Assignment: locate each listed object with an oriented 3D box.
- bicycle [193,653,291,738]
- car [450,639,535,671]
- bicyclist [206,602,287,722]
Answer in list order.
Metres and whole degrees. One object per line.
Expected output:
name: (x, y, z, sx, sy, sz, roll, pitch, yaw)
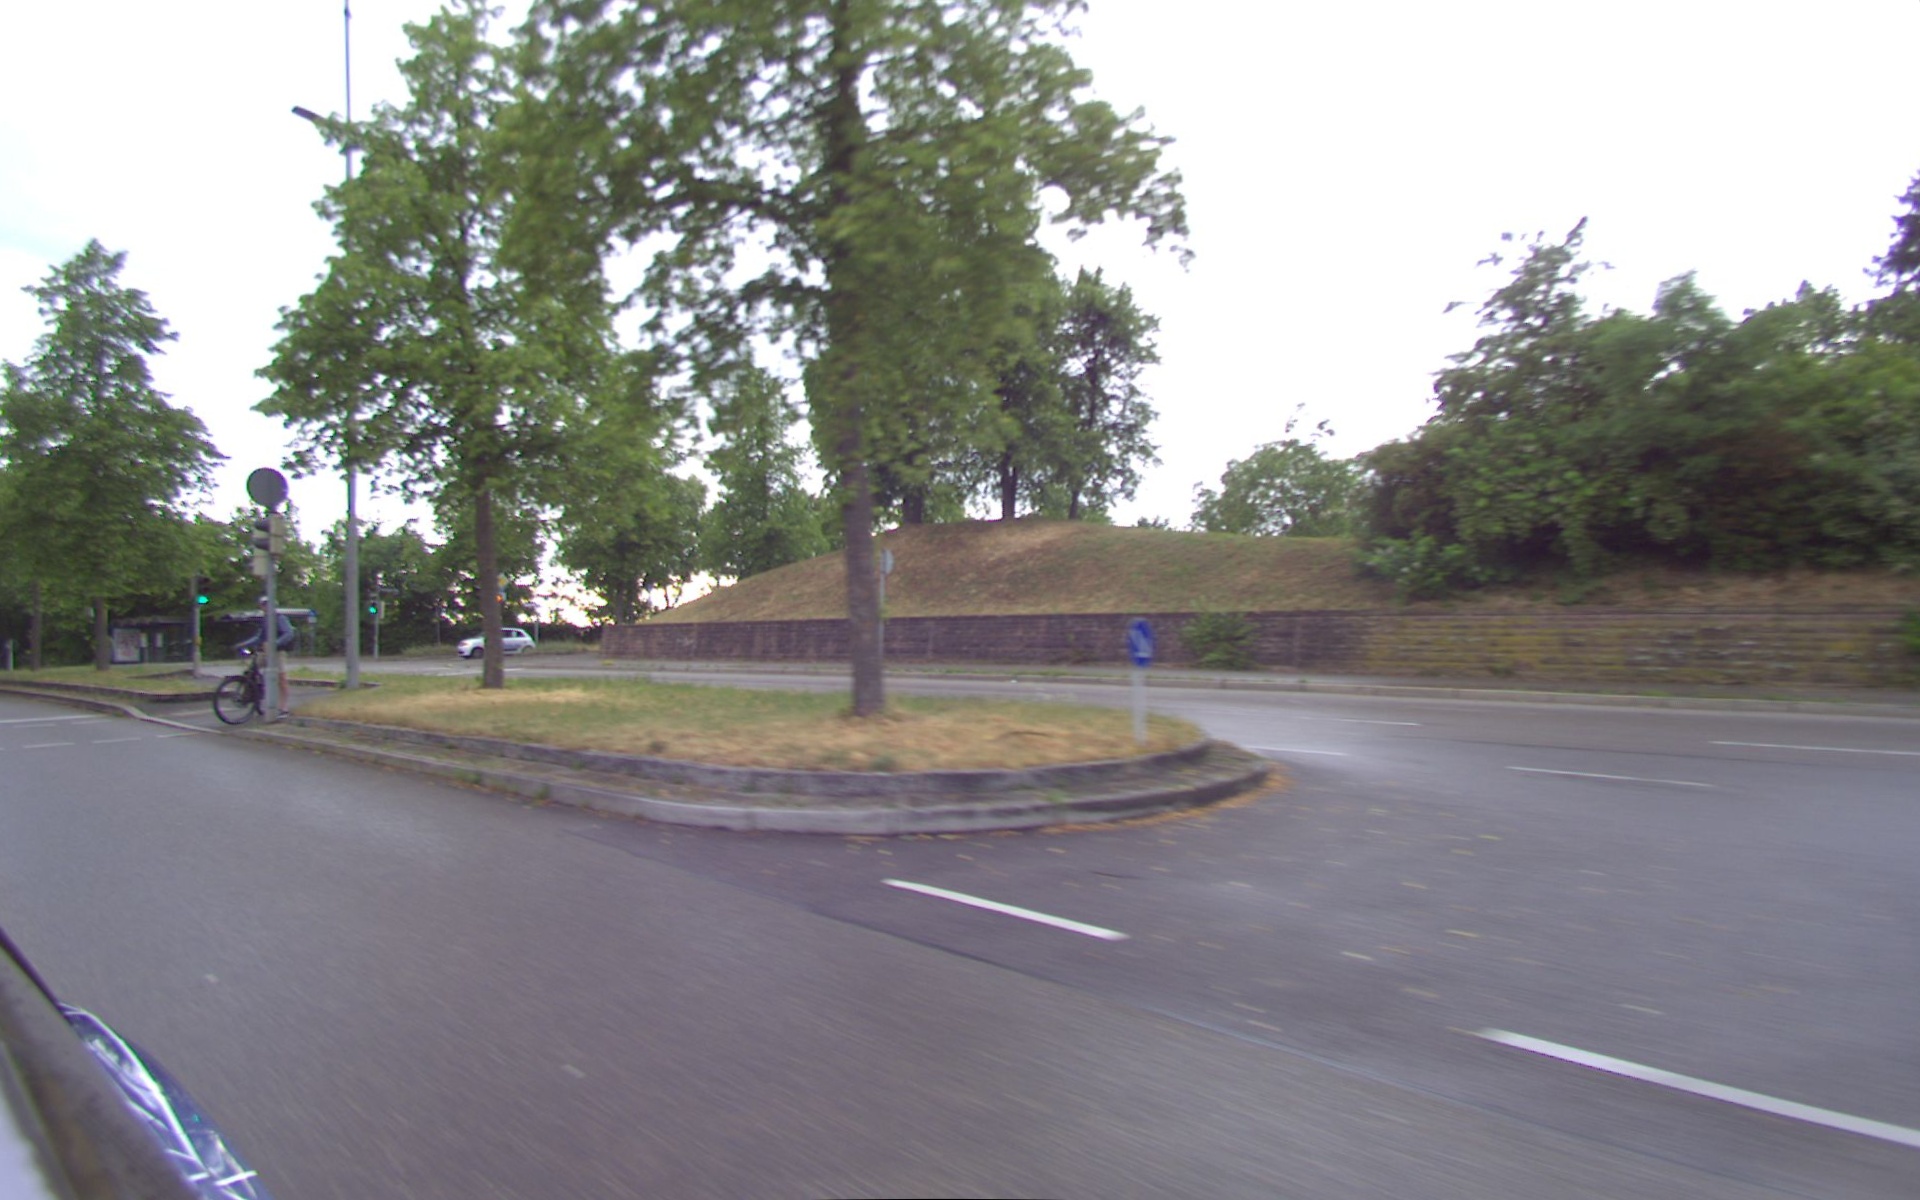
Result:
bicycle: (-11.043, 1.431, 15.640, 0.544, 1.151, 2.146, 0, -2, -16)
car: (-23.833, 2.760, 51.627, 3.639, 1.489, 1.765, 0, -2, -40)
bicyclist: (-10.824, 0.929, 15.390, 0.713, 1.765, 0.804, 2, -2, -16)
